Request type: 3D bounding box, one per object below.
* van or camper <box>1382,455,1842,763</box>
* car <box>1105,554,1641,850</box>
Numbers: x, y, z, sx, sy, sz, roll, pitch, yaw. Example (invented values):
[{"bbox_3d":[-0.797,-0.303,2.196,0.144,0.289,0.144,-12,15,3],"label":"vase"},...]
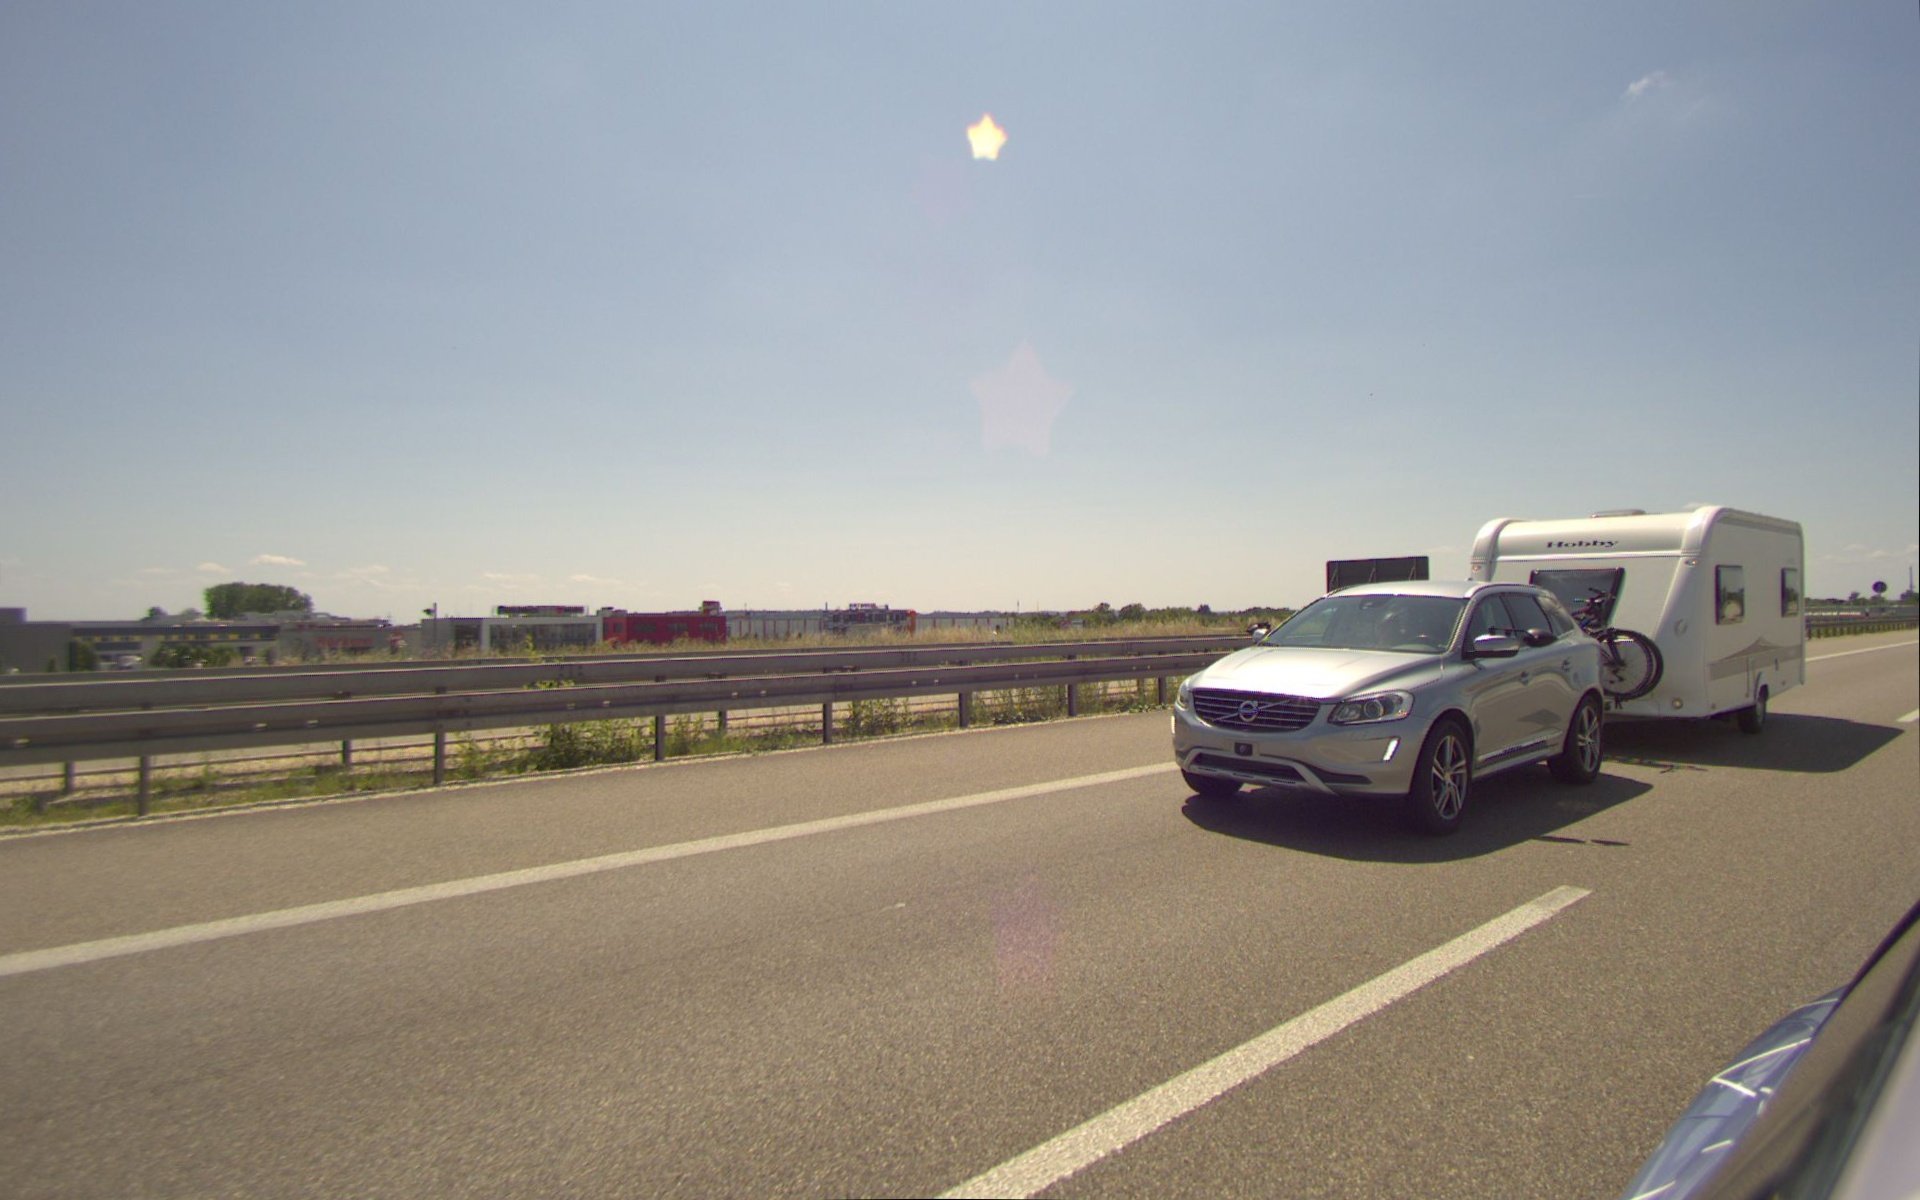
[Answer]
[{"bbox_3d":[8.123,0.107,12.081,7.678,2.626,2.517,1,-1,-40],"label":"van or camper"},{"bbox_3d":[3.445,0.574,7.908,4.817,1.643,1.884,0,0,-40],"label":"car"}]
